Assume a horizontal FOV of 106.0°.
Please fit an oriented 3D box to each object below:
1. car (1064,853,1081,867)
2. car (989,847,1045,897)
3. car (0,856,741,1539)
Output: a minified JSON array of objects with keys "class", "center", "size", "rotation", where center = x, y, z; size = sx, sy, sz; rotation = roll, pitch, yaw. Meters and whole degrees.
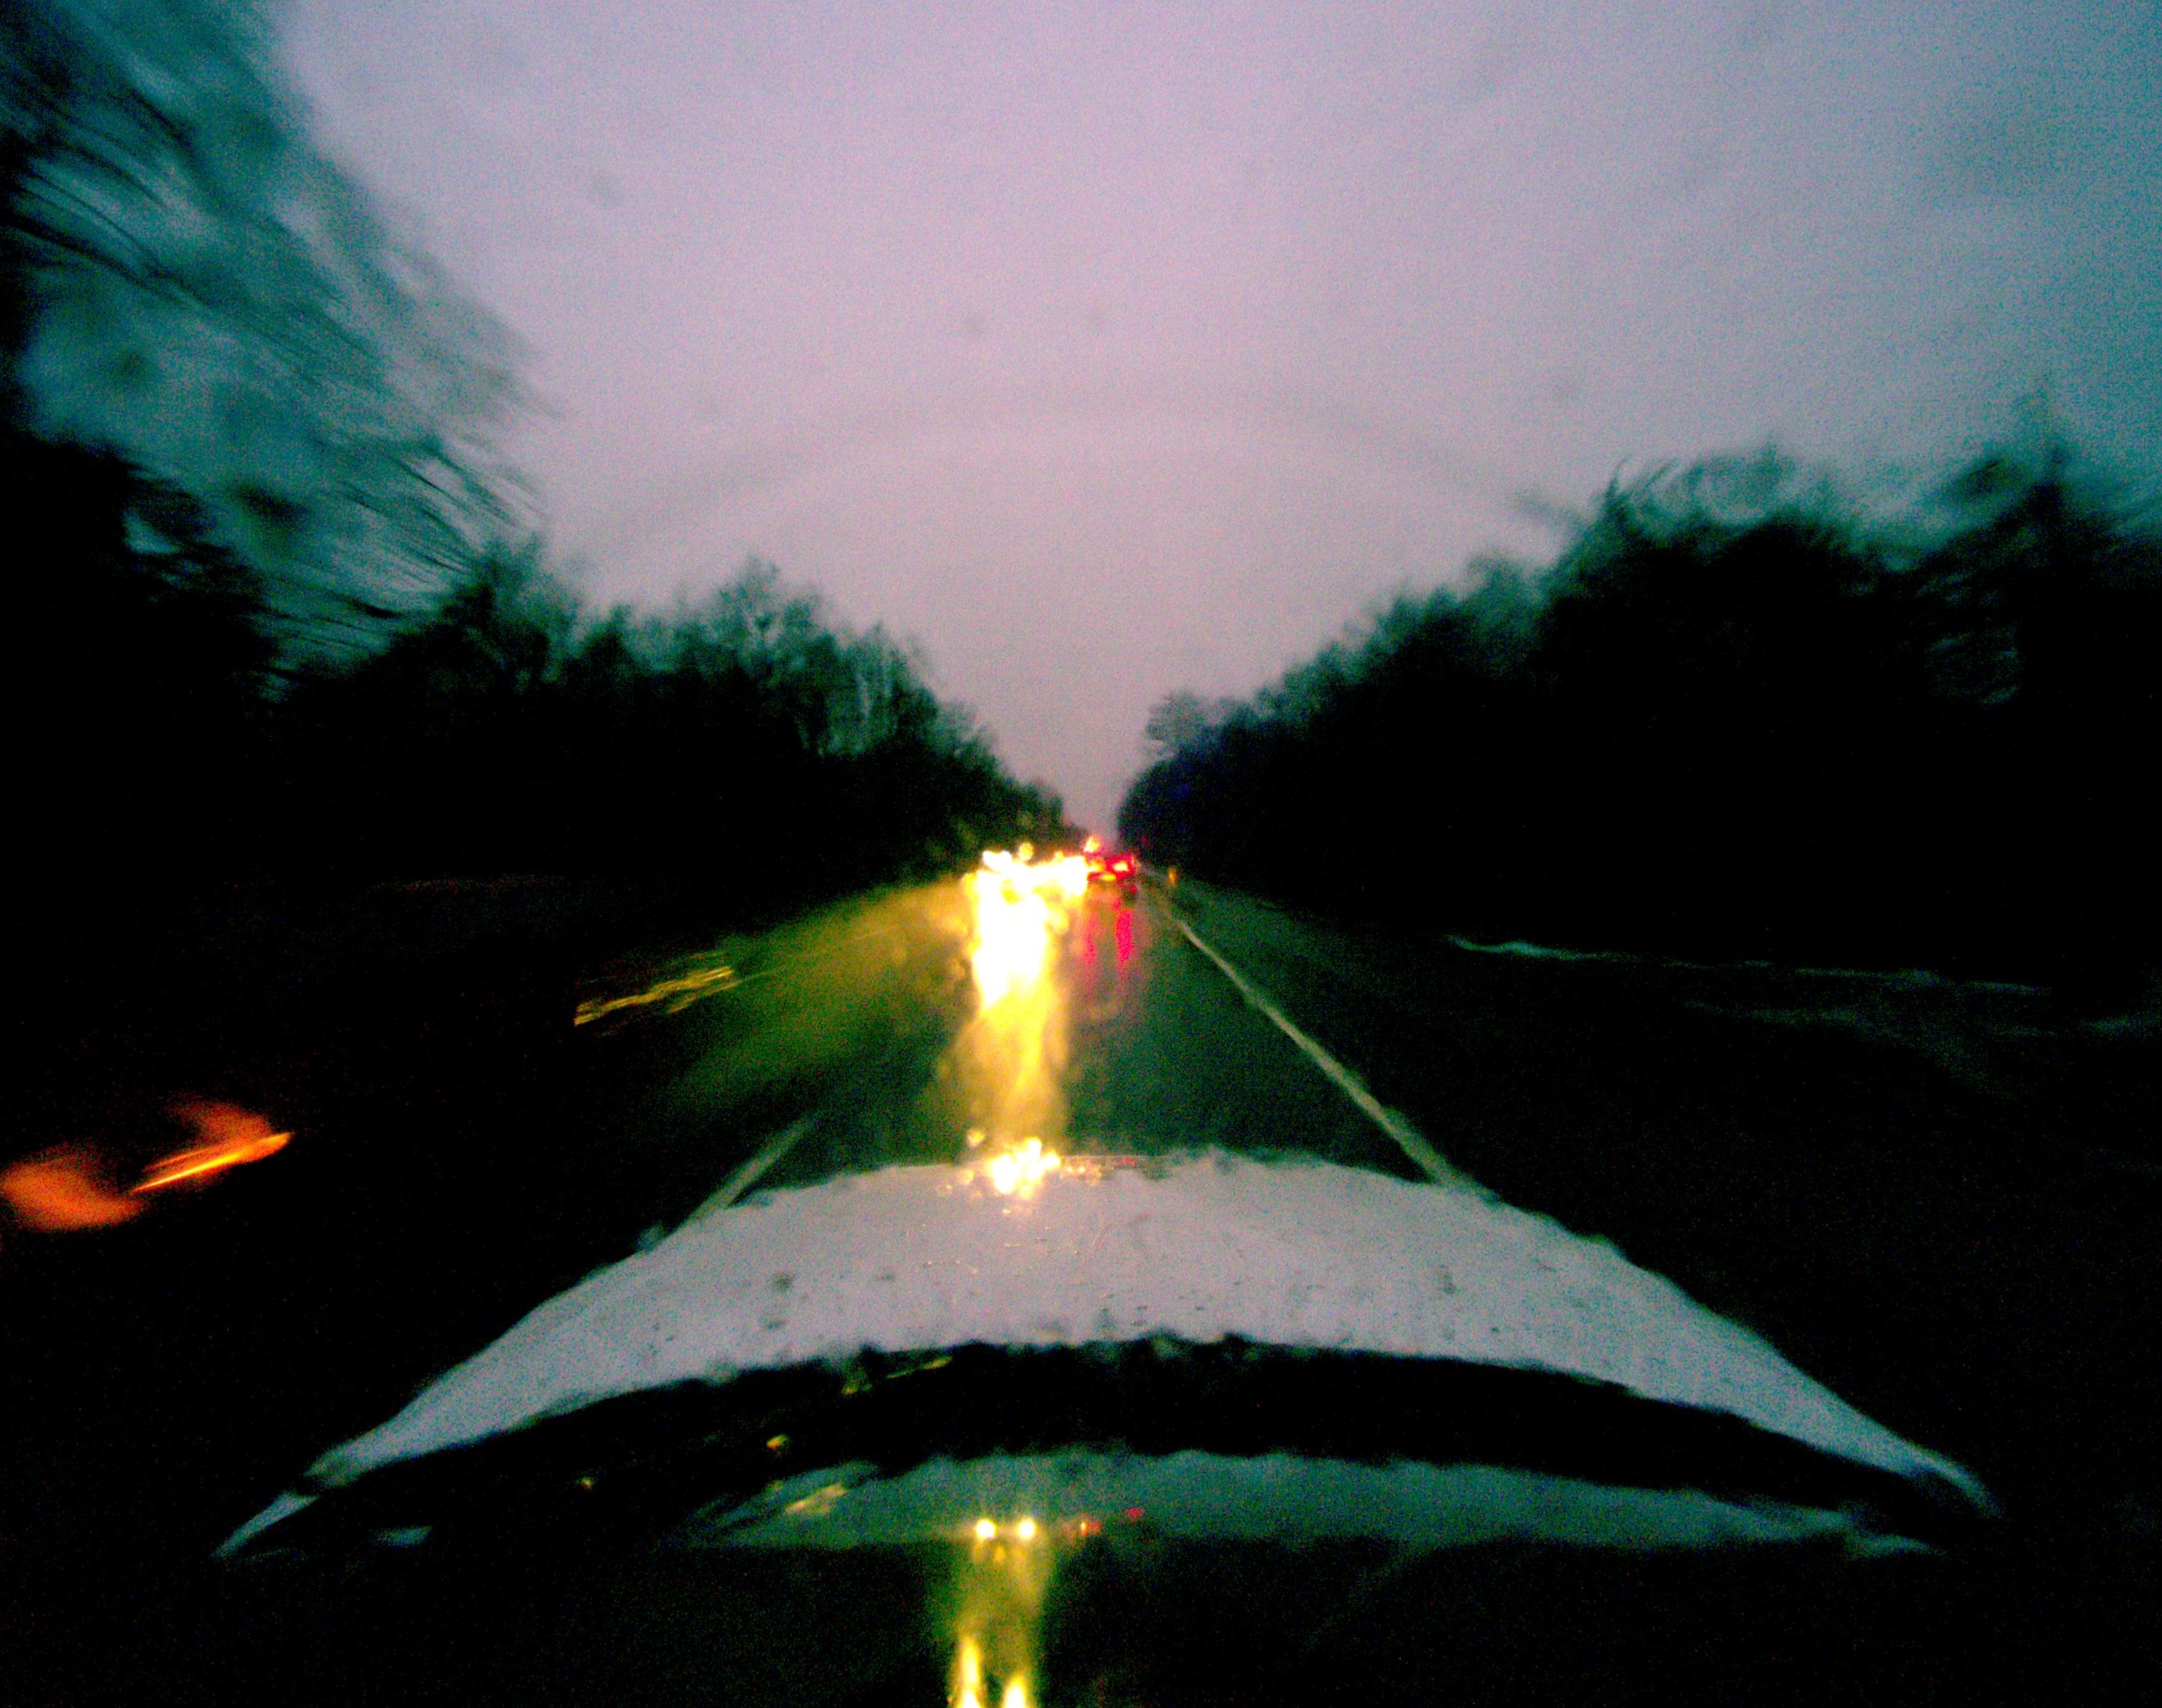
[{"class":"car","center":[-0.865,0.616,86.284],"size":[1.613,1.389,4.072],"rotation":[-2,0,1]},{"class":"car","center":[-2.559,0.705,33.339],"size":[1.700,1.822,4.287],"rotation":[-4,0,2]},{"class":"car","center":[-3.249,0.844,3.683],"size":[1.575,1.550,4.001],"rotation":[-4,-1,1]}]
